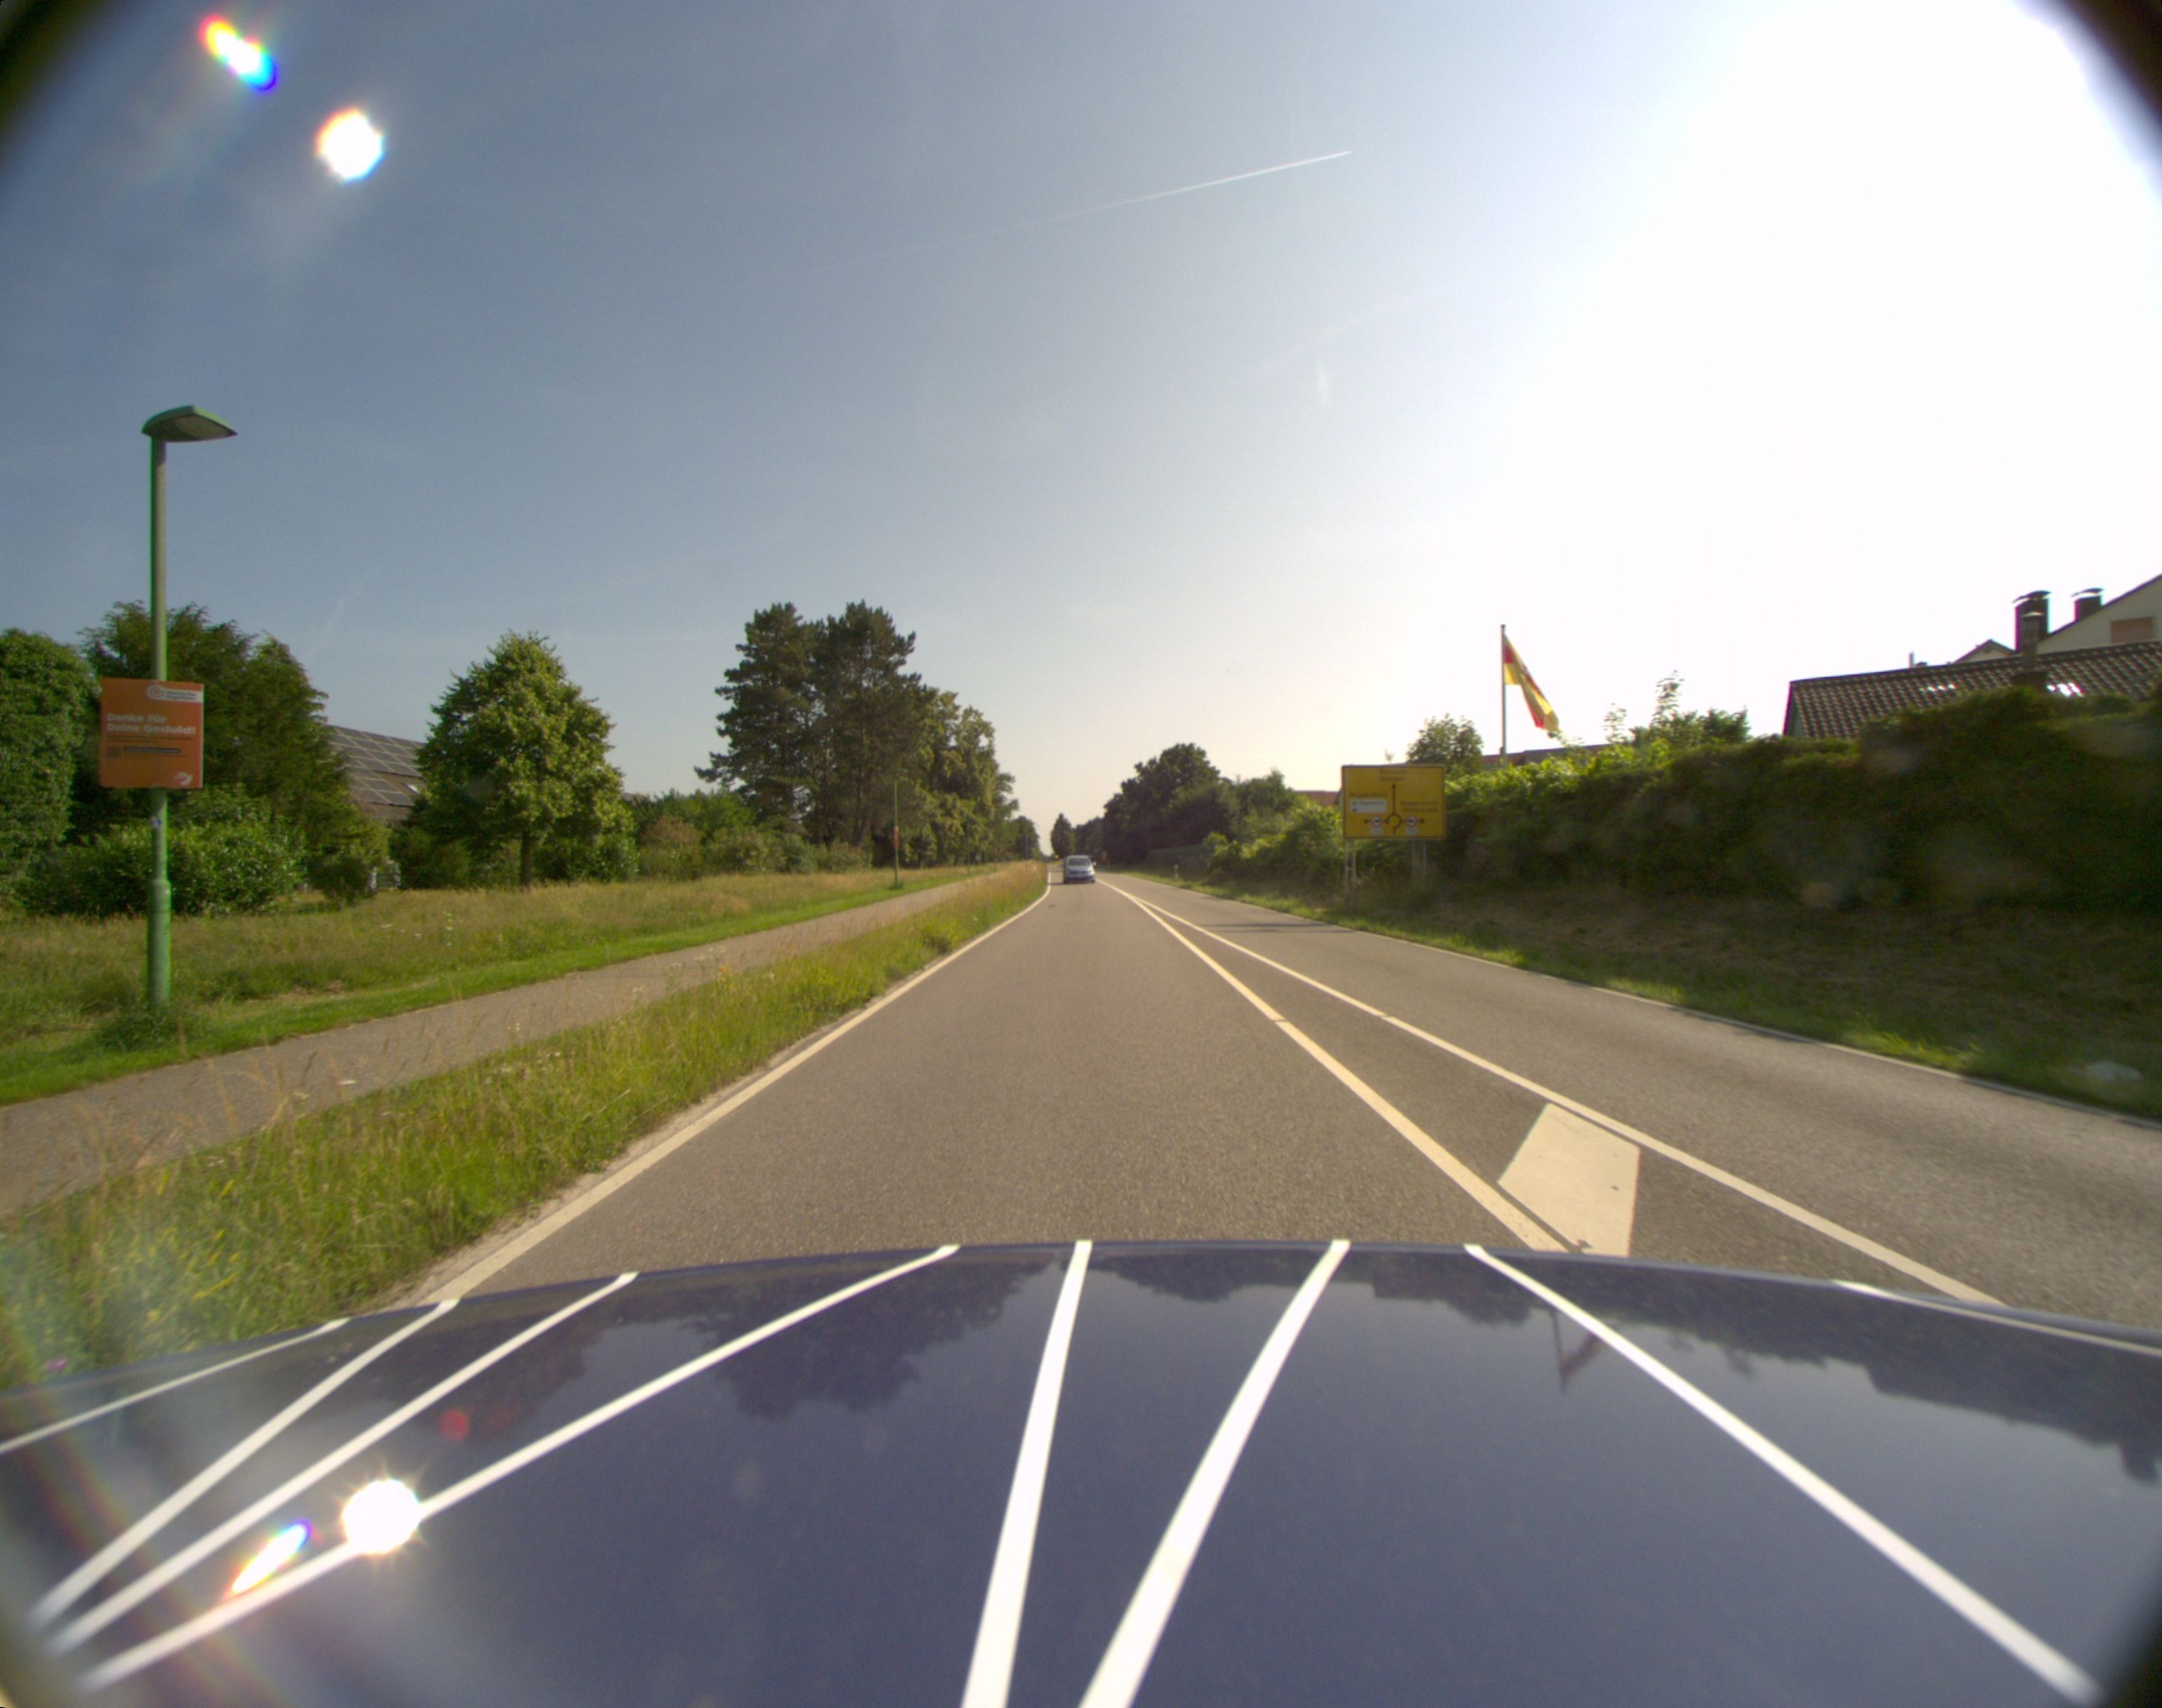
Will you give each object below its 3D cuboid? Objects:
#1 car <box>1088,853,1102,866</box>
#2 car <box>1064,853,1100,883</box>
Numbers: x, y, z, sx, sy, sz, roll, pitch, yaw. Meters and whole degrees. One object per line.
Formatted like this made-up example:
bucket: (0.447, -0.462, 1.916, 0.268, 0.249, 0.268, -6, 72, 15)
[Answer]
car: (1.987, 0.844, 110.094, 1.944, 1.807, 4.241, 1, 0, 0)
car: (0.011, 0.761, 43.434, 1.809, 1.592, 4.268, -1, 0, -3)
